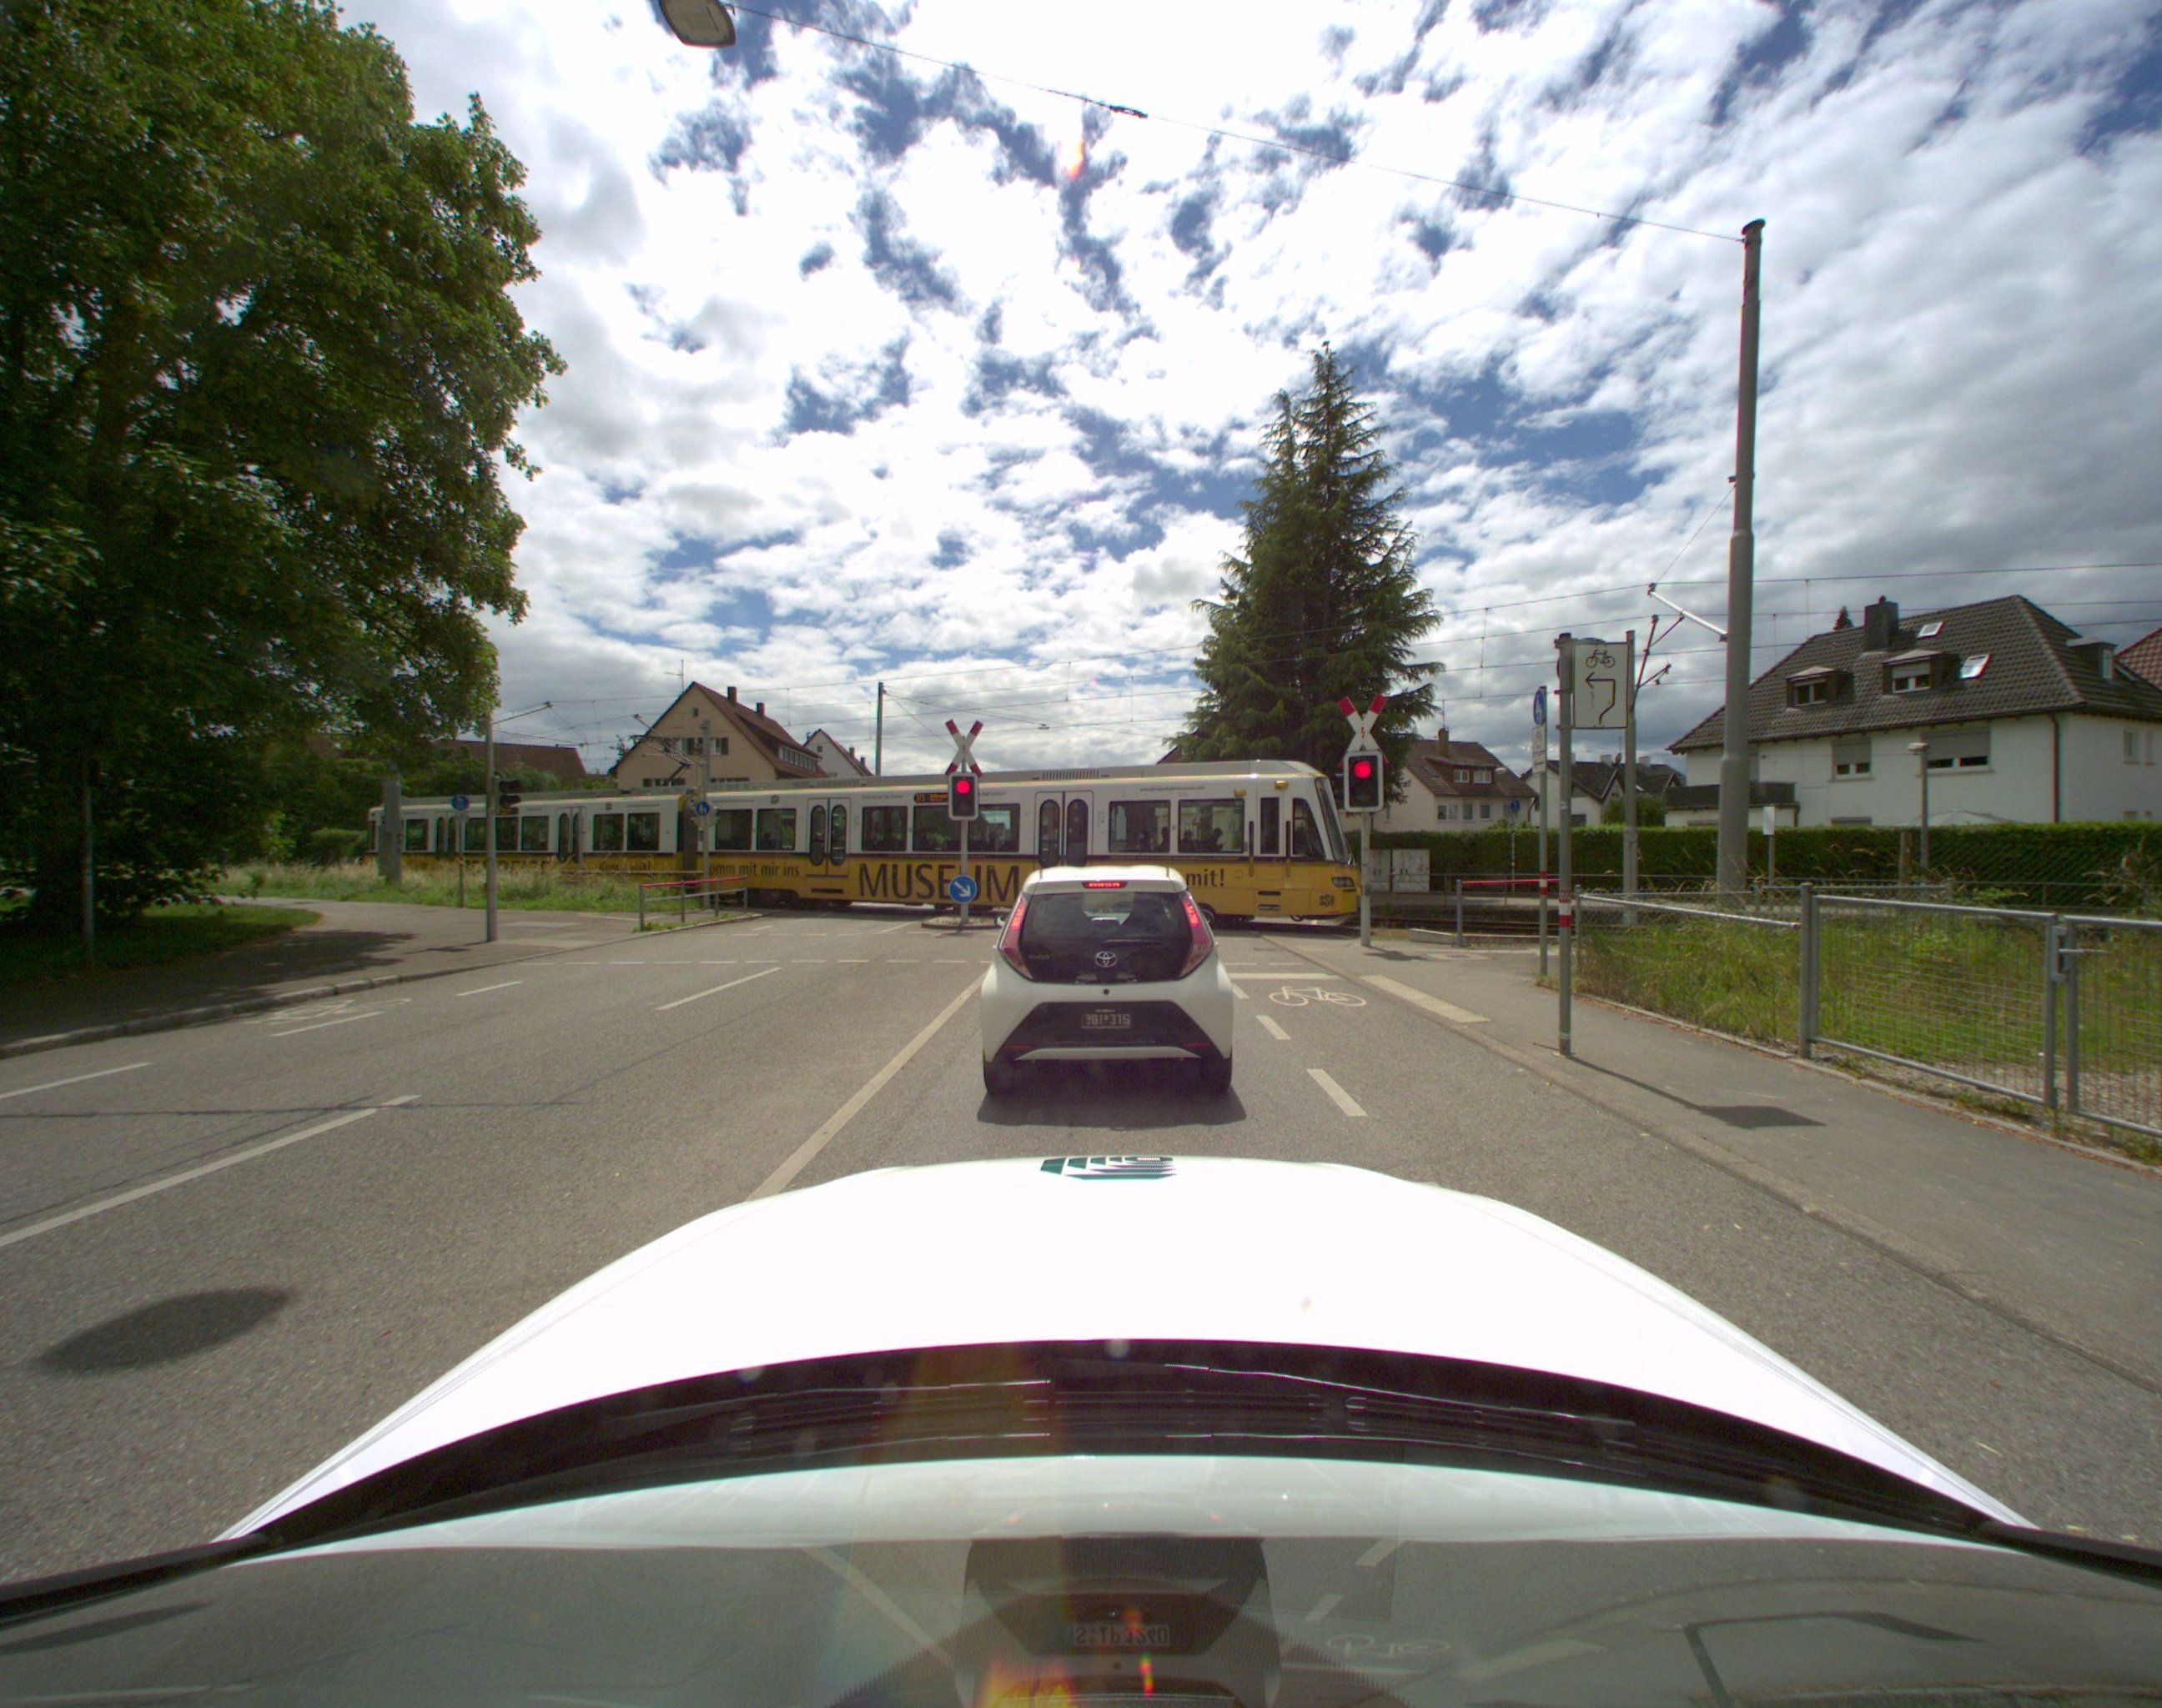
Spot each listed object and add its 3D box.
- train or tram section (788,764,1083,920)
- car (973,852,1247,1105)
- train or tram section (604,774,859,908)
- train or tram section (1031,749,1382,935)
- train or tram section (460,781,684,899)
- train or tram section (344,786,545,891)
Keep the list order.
[{"bbox_3d":[-4.033,-0.322,22.344,7.622,3.721,2.886,1,0,24],"label":"train or tram section"},{"bbox_3d":[0.233,0.761,6.851,1.615,1.486,4.001,-1,-1,2],"label":"car"},{"bbox_3d":[-10.971,-0.393,25.495,7.622,3.721,2.886,1,0,24],"label":"train or tram section"},{"bbox_3d":[2.906,-0.283,19.204,7.622,3.721,2.886,1,0,24],"label":"train or tram section"},{"bbox_3d":[-17.915,-0.489,28.619,7.622,3.721,2.886,1,0,24],"label":"train or tram section"},{"bbox_3d":[-24.866,-0.580,31.776,7.622,3.721,2.886,1,0,24],"label":"train or tram section"}]
